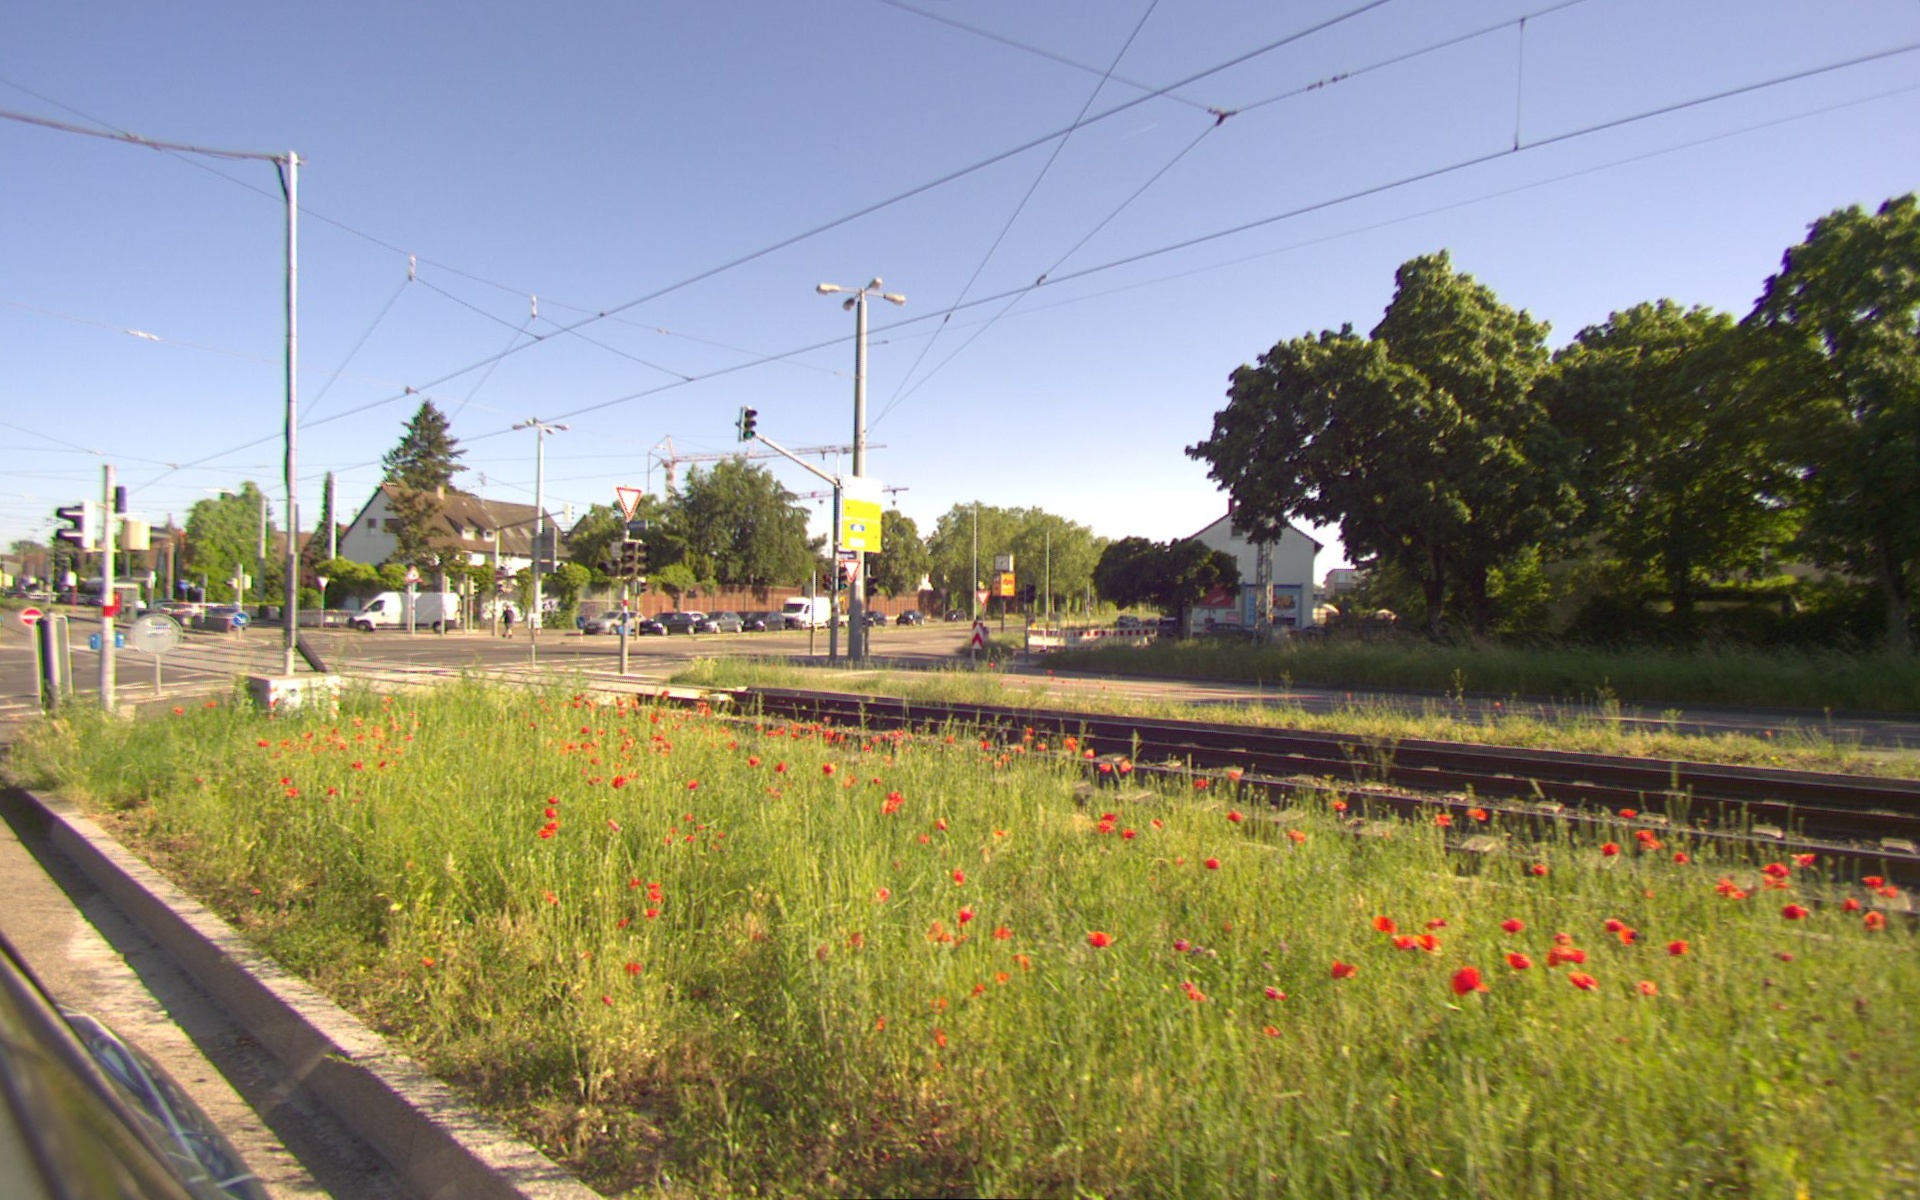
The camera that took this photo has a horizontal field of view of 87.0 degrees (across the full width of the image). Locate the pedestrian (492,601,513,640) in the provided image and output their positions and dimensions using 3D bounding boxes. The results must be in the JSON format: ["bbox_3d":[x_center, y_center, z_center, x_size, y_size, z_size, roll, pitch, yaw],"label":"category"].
[{"bbox_3d":[-23.070,1.035,50.985,0.765,1.963,0.611,0,-1,-1],"label":"pedestrian"}]

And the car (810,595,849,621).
[{"bbox_3d":[-10.601,0.658,82.247,1.791,2.029,3.981,1,-1,14],"label":"car"}]

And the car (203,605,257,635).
[{"bbox_3d":[-42.561,1.140,58.975,4.002,1.700,1.771,0,-1,43],"label":"car"}]

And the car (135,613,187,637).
[{"bbox_3d":[-55.905,1.704,70.779,4.687,1.608,1.796,0,-1,38],"label":"car"}]

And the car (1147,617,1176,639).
[{"bbox_3d":[16.510,2.292,82.897,1.983,1.775,3.978,0,-1,16],"label":"car"}]

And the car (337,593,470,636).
[{"bbox_3d":[-33.389,0.886,61.044,6.751,2.476,2.356,1,-1,-22],"label":"car"}]

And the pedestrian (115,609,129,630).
[{"bbox_3d":[-57.030,1.314,68.865,0.711,1.425,0.615,-1,-1,41],"label":"pedestrian"}]

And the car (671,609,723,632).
[{"bbox_3d":[-17.939,1.415,69.156,1.657,1.488,3.980,1,-1,15],"label":"car"}]

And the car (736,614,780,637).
[{"bbox_3d":[-13.902,1.730,69.892,1.485,1.579,3.508,0,-1,17],"label":"car"}]

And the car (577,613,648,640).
[{"bbox_3d":[-20.607,1.570,60.214,1.657,1.488,4.613,1,-1,15],"label":"car"}]

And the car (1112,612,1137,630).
[{"bbox_3d":[16.656,2.098,102.225,1.982,1.775,3.979,0,-1,16],"label":"car"}]

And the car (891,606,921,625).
[{"bbox_3d":[-5.219,1.526,98.195,1.791,1.755,3.982,0,-1,14],"label":"car"}]

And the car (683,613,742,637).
[{"bbox_3d":[-15.774,1.555,64.692,1.920,1.477,4.238,-1,-1,15],"label":"car"}]

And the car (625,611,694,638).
[{"bbox_3d":[-17.594,1.423,59.455,1.920,1.477,4.228,0,-1,15],"label":"car"}]

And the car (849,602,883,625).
[{"bbox_3d":[-8.355,1.223,90.184,1.791,2.029,3.982,1,-1,14],"label":"car"}]

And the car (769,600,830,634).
[{"bbox_3d":[-12.040,1.286,76.385,2.162,2.429,5.888,1,-1,17],"label":"car"}]

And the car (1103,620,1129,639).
[{"bbox_3d":[15.090,2.783,97.714,1.982,1.775,3.979,0,-1,16],"label":"car"}]

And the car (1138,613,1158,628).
[{"bbox_3d":[22.919,2.513,123.093,1.982,1.775,3.979,0,-1,16],"label":"car"}]
